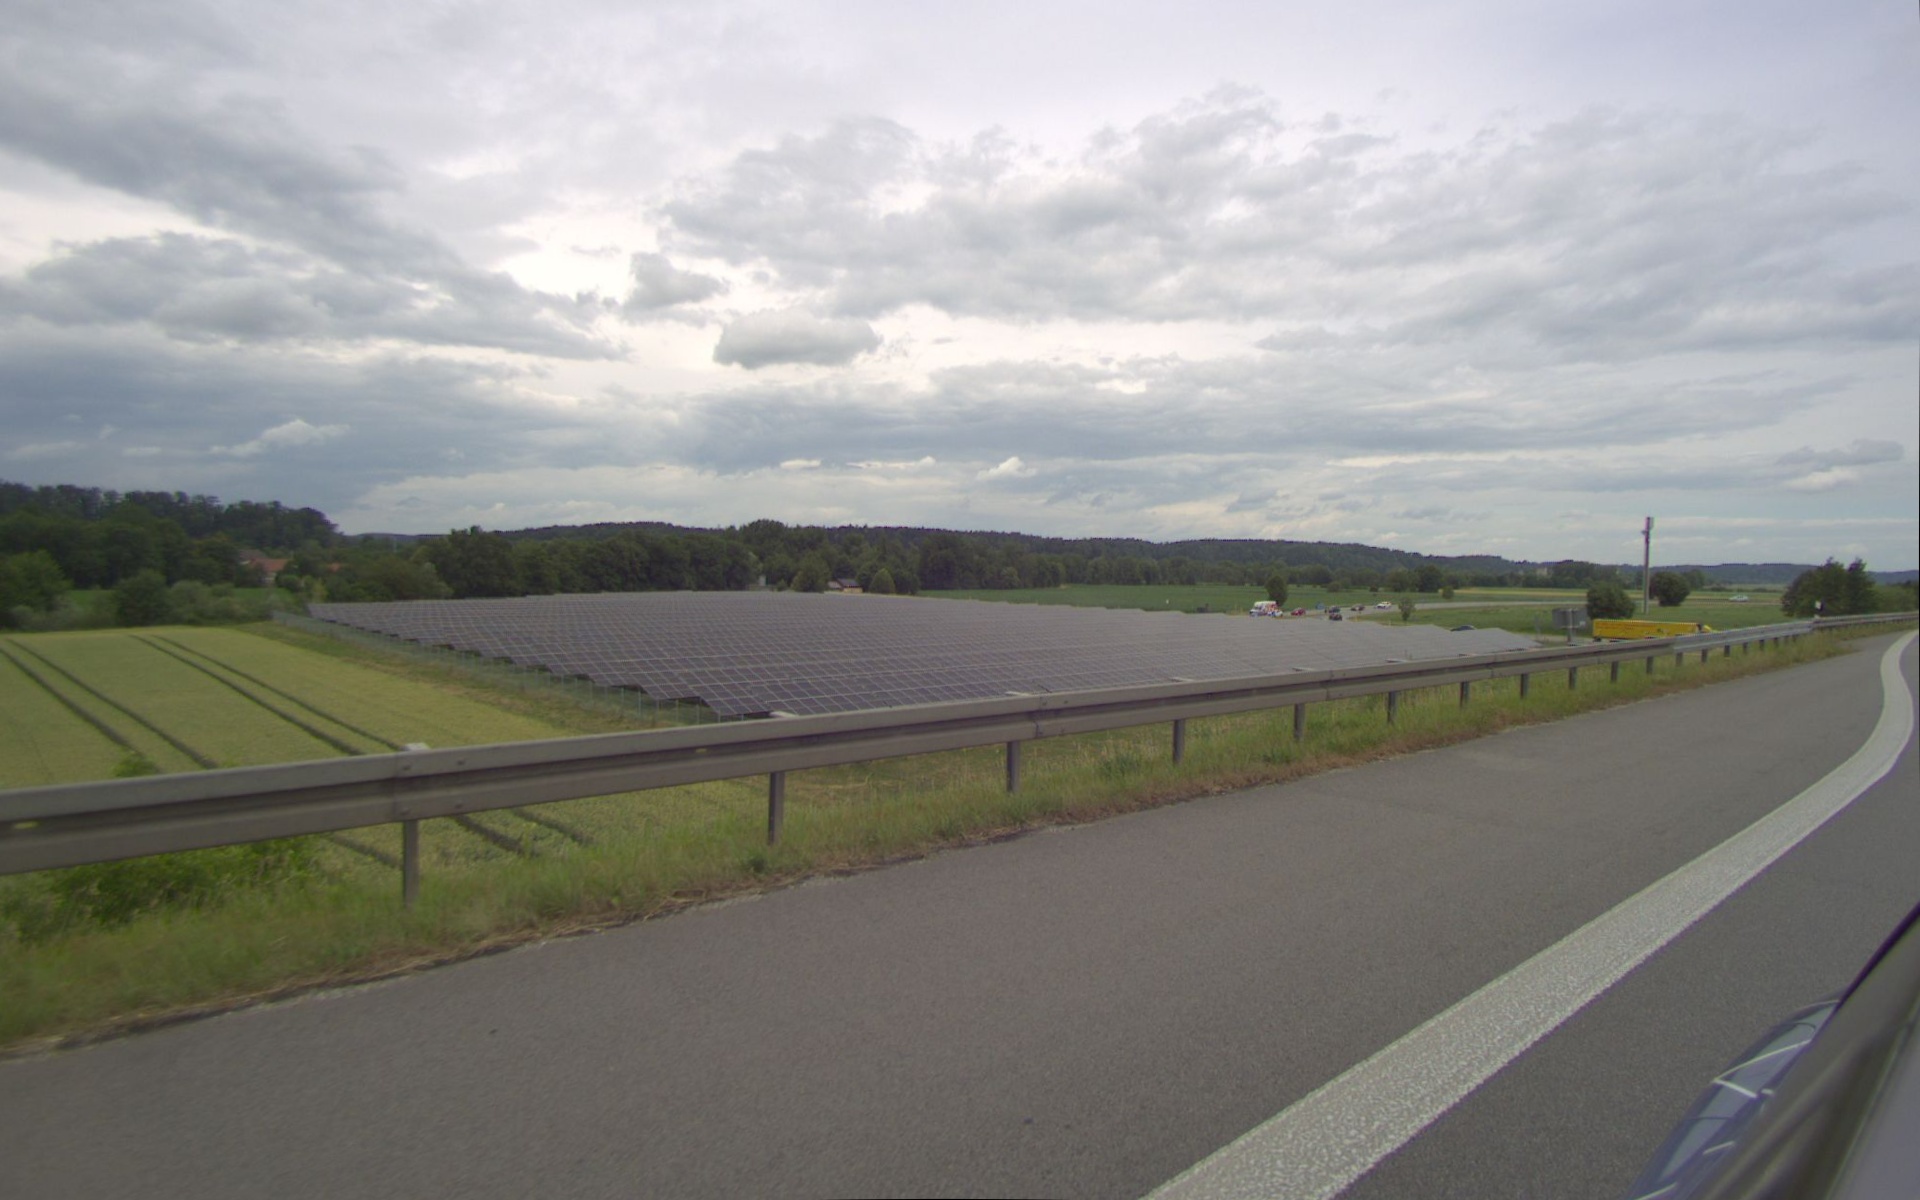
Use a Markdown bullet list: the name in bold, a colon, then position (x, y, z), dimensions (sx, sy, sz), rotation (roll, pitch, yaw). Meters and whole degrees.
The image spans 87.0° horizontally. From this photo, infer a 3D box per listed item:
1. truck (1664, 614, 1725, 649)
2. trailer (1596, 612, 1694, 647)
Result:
- **truck**: position (110.620, 4.634, 152.486), dimensions (2.970, 4.847, 7.121), rotation (1, 1, -45)
- **trailer**: position (106.144, 4.492, 157.117), dimensions (2.970, 4.847, 12.276), rotation (1, 1, -45)
